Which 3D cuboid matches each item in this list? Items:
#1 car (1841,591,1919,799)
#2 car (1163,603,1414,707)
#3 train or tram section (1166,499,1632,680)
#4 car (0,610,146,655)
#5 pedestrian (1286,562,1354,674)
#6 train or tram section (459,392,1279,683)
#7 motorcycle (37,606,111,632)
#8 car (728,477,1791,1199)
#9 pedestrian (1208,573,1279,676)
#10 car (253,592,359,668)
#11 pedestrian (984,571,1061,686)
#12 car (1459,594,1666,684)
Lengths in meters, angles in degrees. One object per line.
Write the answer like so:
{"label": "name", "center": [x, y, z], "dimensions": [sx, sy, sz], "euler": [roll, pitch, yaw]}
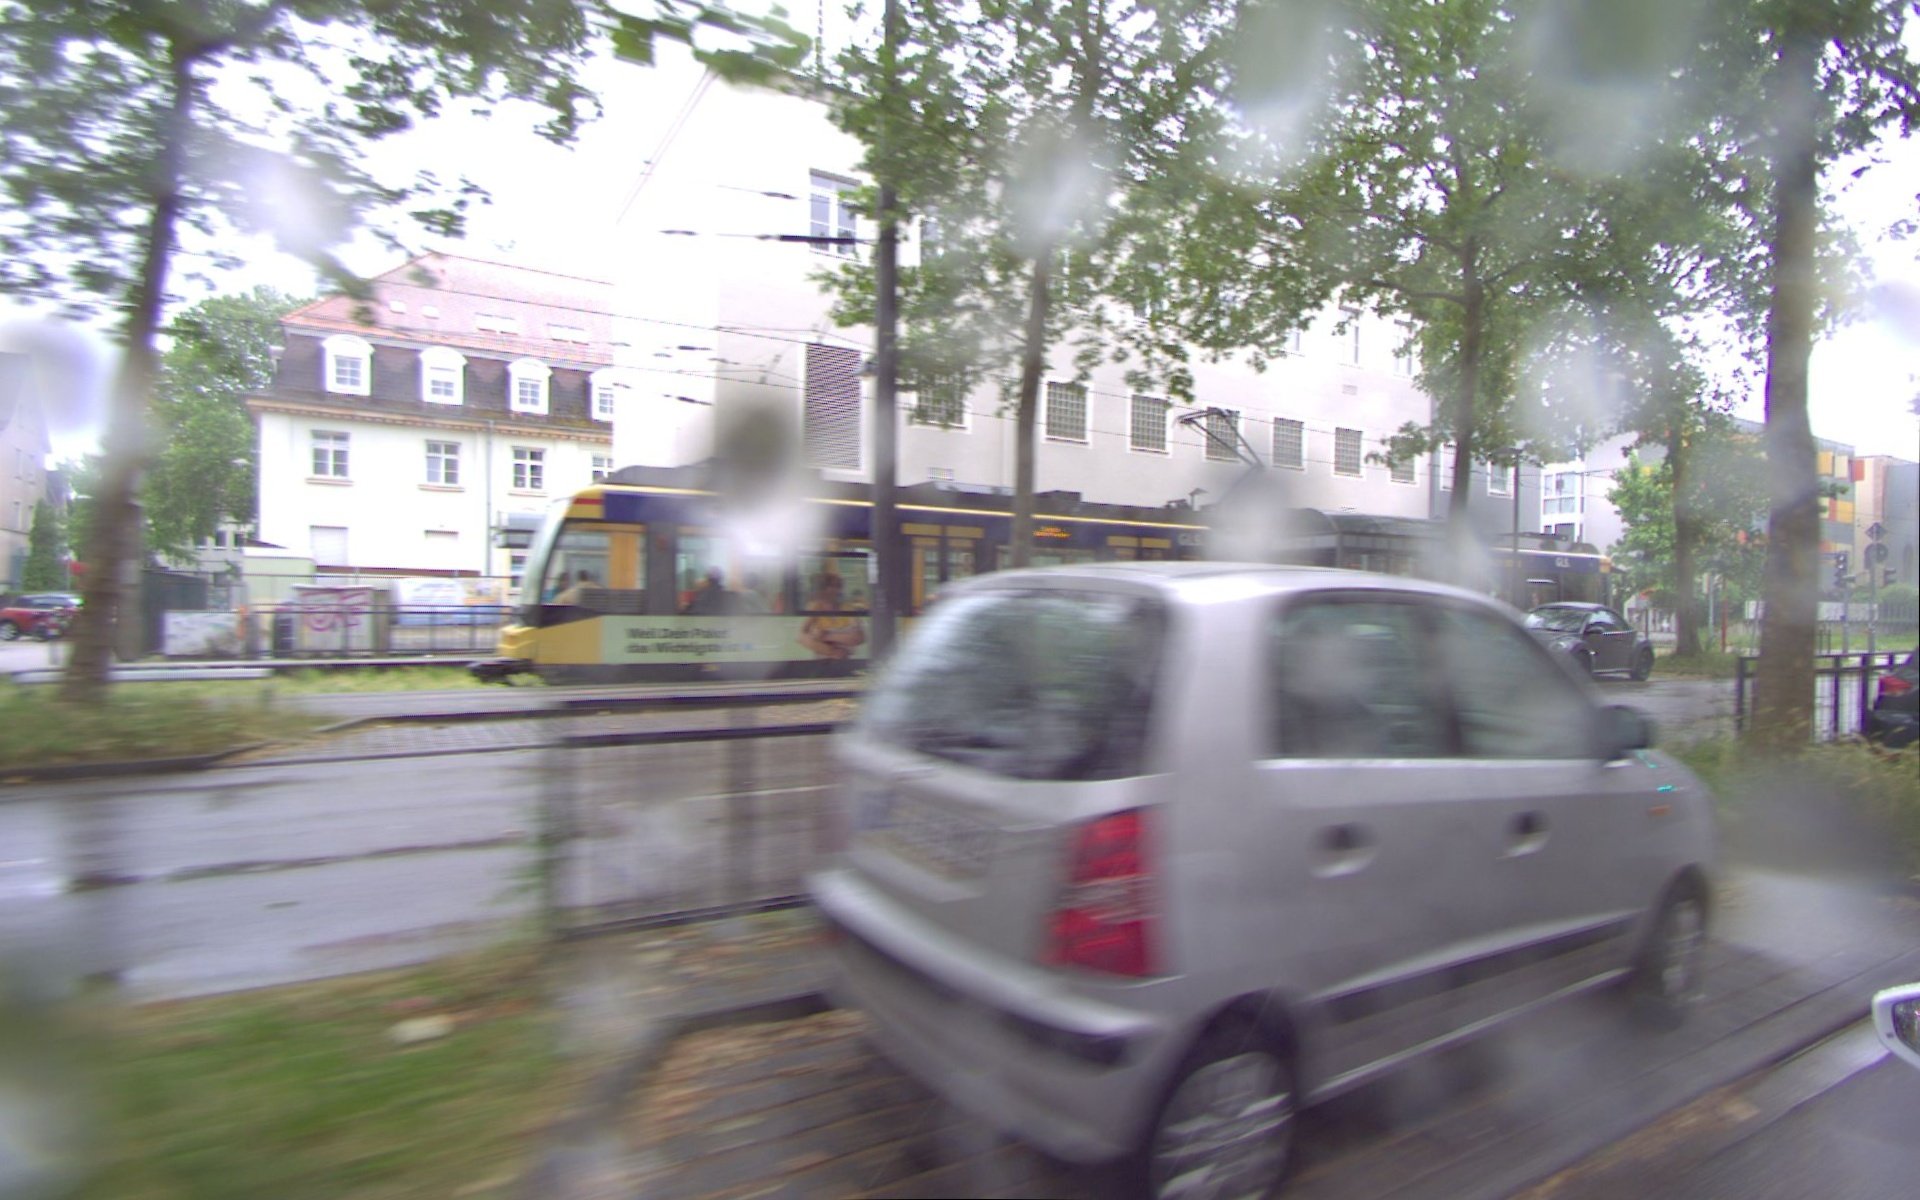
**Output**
{"label": "car", "center": [9.007, 0.755, 8.134], "dimensions": [4.072, 1.520, 1.640], "euler": [1, 1, -32]}
{"label": "car", "center": [5.180, 0.790, 15.732], "dimensions": [3.714, 1.361, 1.729], "euler": [1, 3, -32]}
{"label": "train or tram section", "center": [11.623, 0.080, 25.237], "dimensions": [14.513, 3.605, 3.089], "euler": [3, -1, -32]}
{"label": "car", "center": [-27.544, 0.990, 30.913], "dimensions": [3.778, 1.242, 1.345], "euler": [1, 2, -3]}
{"label": "pedestrian", "center": [6.775, 0.328, 18.937], "dimensions": [0.810, 2.040, 0.866], "euler": [1, 0, -27]}
{"label": "train or tram section", "center": [-0.563, -0.489, 17.588], "dimensions": [14.417, 3.605, 3.089], "euler": [3, -1, -32]}
{"label": "motorcycle", "center": [-26.027, 0.569, 29.517], "dimensions": [1.642, 0.719, 0.521], "euler": [1, -1, -3]}
{"label": "car", "center": [1.213, 0.619, 3.495], "dimensions": [3.621, 1.704, 1.614], "euler": [0, 1, -34]}
{"label": "pedestrian", "center": [4.915, 0.410, 17.422], "dimensions": [0.862, 1.726, 0.813], "euler": [1, 0, -32]}
{"label": "car", "center": [-14.805, 0.623, 22.903], "dimensions": [1.589, 1.562, 3.663], "euler": [1, 1, -26]}
{"label": "pedestrian", "center": [0.969, 0.432, 15.598], "dimensions": [0.862, 1.726, 0.813], "euler": [1, 0, -32]}
{"label": "car", "center": [12.111, 0.722, 20.156], "dimensions": [3.955, 1.634, 1.983], "euler": [1, 0, -32]}
